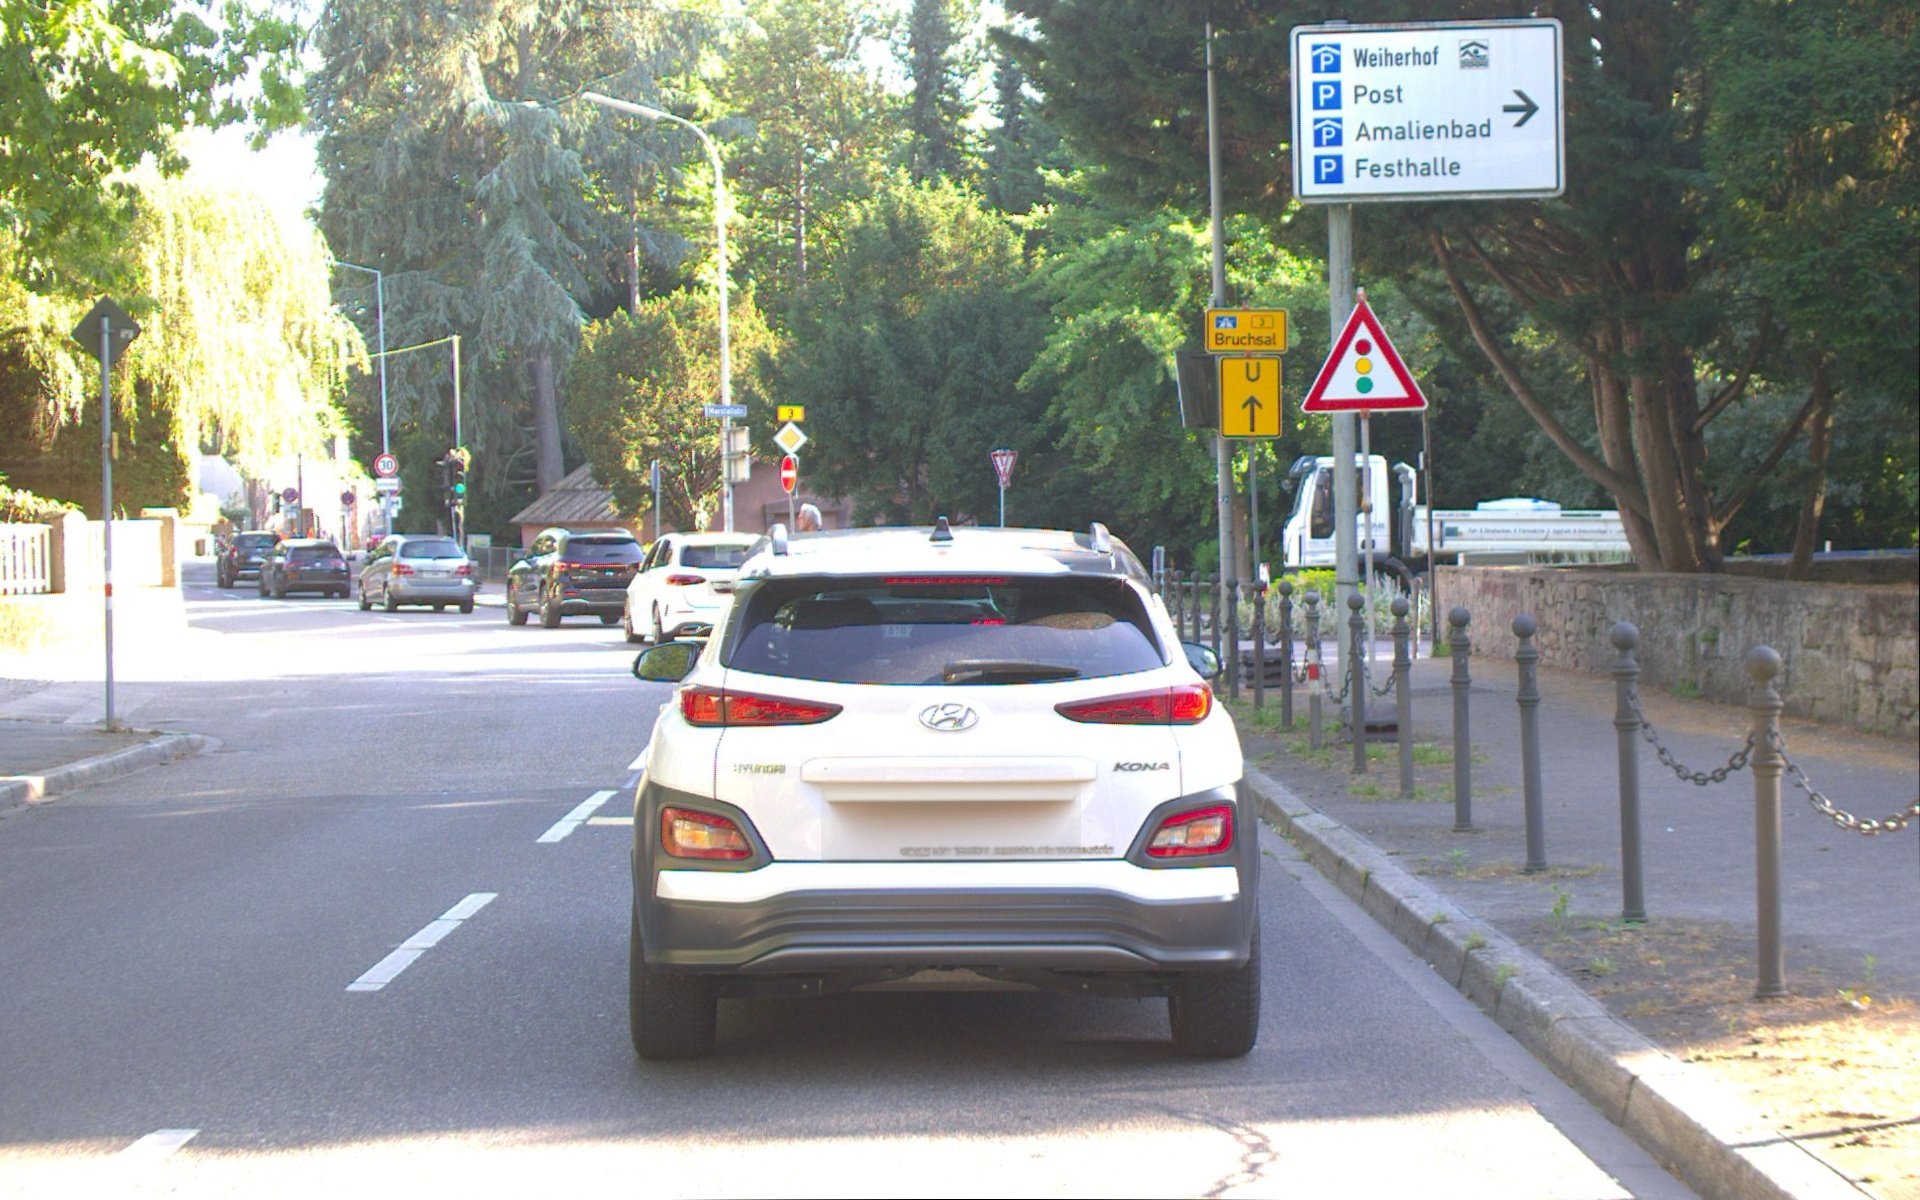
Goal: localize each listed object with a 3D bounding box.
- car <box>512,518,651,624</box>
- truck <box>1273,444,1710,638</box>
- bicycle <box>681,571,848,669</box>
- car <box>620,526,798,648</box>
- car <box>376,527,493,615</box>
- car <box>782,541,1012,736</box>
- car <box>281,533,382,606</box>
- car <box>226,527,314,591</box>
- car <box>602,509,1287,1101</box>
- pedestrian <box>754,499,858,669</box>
[{"bbox_3d":[-6.223,-0.498,56.210,1.831,1.656,4.001,1,1,-12],"label":"car"},{"bbox_3d":[8.279,-0.945,54.168,6.588,2.885,2.433,1,1,5],"label":"truck"},{"bbox_3d":[-2.150,0.215,37.955,1.812,1.039,0.561,0,3,-38],"label":"bicycle"},{"bbox_3d":[-3.402,-0.206,45.911,1.805,1.532,4.001,1,1,-12],"label":"car"},{"bbox_3d":[-10.851,-0.615,70.805,1.831,1.735,4.001,1,1,-16],"label":"car"},{"bbox_3d":[-0.504,0.256,28.121,1.708,1.429,4.365,1,1,-1],"label":"car"},{"bbox_3d":[-14.949,-0.738,81.629,1.831,1.656,4.001,1,1,-18],"label":"car"},{"bbox_3d":[-18.947,-1.140,94.309,1.831,1.656,4.001,1,1,-19],"label":"car"},{"bbox_3d":[-0.079,0.517,11.259,1.820,1.568,4.000,1,1,-1],"label":"car"},{"bbox_3d":[-1.692,-0.179,37.678,0.940,1.820,0.554,0,3,-39],"label":"pedestrian"}]
